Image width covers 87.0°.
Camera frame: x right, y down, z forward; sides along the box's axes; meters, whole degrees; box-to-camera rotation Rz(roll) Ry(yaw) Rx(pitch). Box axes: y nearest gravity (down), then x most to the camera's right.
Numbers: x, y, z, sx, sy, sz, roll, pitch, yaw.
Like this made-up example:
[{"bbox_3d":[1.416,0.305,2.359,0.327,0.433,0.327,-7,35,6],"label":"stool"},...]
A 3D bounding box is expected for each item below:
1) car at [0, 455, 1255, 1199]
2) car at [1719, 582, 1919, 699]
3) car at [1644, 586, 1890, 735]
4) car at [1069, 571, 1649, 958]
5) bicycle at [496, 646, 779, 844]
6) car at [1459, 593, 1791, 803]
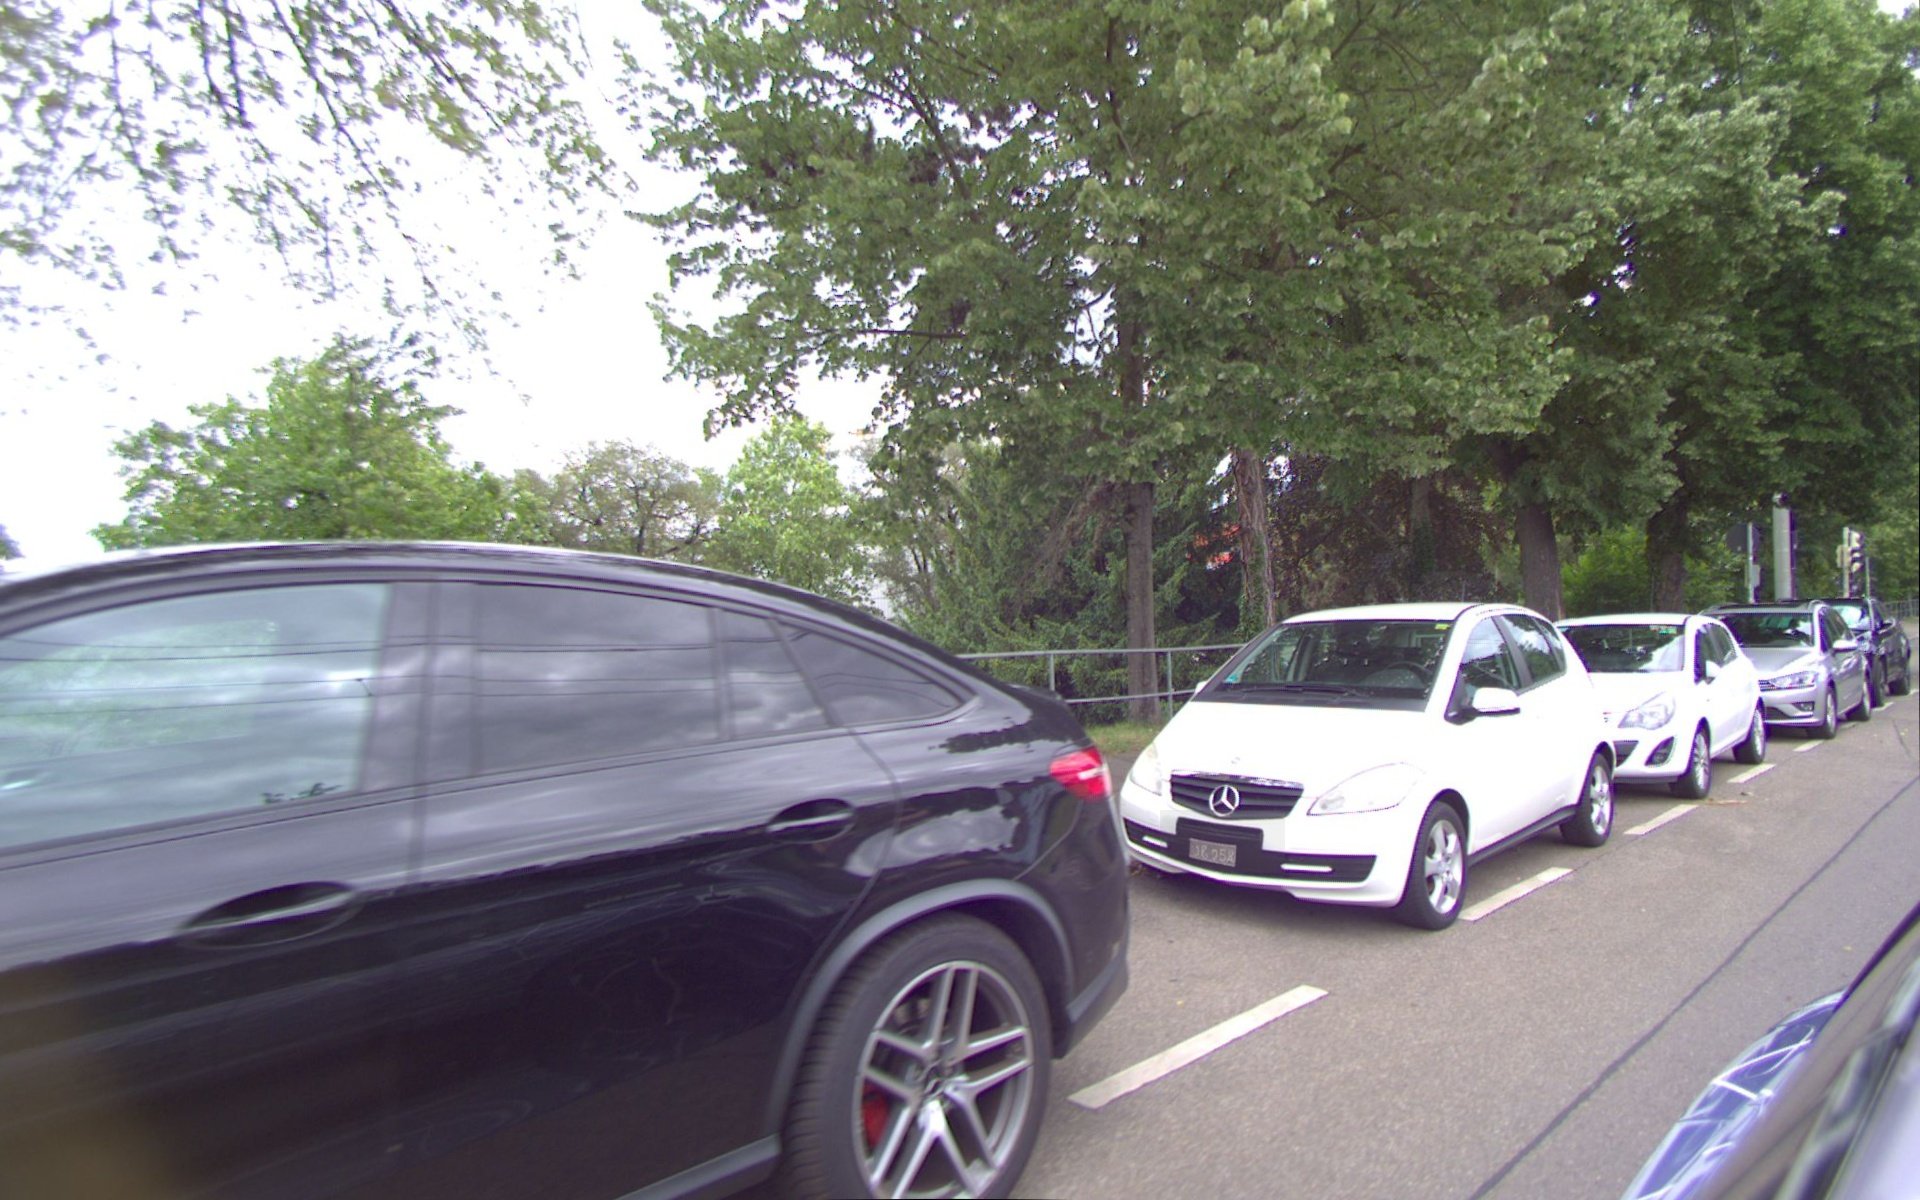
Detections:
[{"bbox_3d":[-1.595,0.684,2.258,4.974,1.699,1.880,-1,-2,-41],"label":"car"},{"bbox_3d":[14.153,0.562,16.438,4.518,1.635,1.908,-1,-1,-40],"label":"car"},{"bbox_3d":[10.488,0.638,13.036,4.289,1.595,1.736,-1,0,-41],"label":"car"},{"bbox_3d":[2.698,0.737,6.354,4.018,1.653,1.727,0,-3,-42],"label":"car"},{"bbox_3d":[-1.977,0.840,6.446,0.426,0.988,1.770,-1,1,39],"label":"bicycle"},{"bbox_3d":[6.347,0.747,9.481,3.995,1.536,1.630,-1,-2,-43],"label":"car"}]
